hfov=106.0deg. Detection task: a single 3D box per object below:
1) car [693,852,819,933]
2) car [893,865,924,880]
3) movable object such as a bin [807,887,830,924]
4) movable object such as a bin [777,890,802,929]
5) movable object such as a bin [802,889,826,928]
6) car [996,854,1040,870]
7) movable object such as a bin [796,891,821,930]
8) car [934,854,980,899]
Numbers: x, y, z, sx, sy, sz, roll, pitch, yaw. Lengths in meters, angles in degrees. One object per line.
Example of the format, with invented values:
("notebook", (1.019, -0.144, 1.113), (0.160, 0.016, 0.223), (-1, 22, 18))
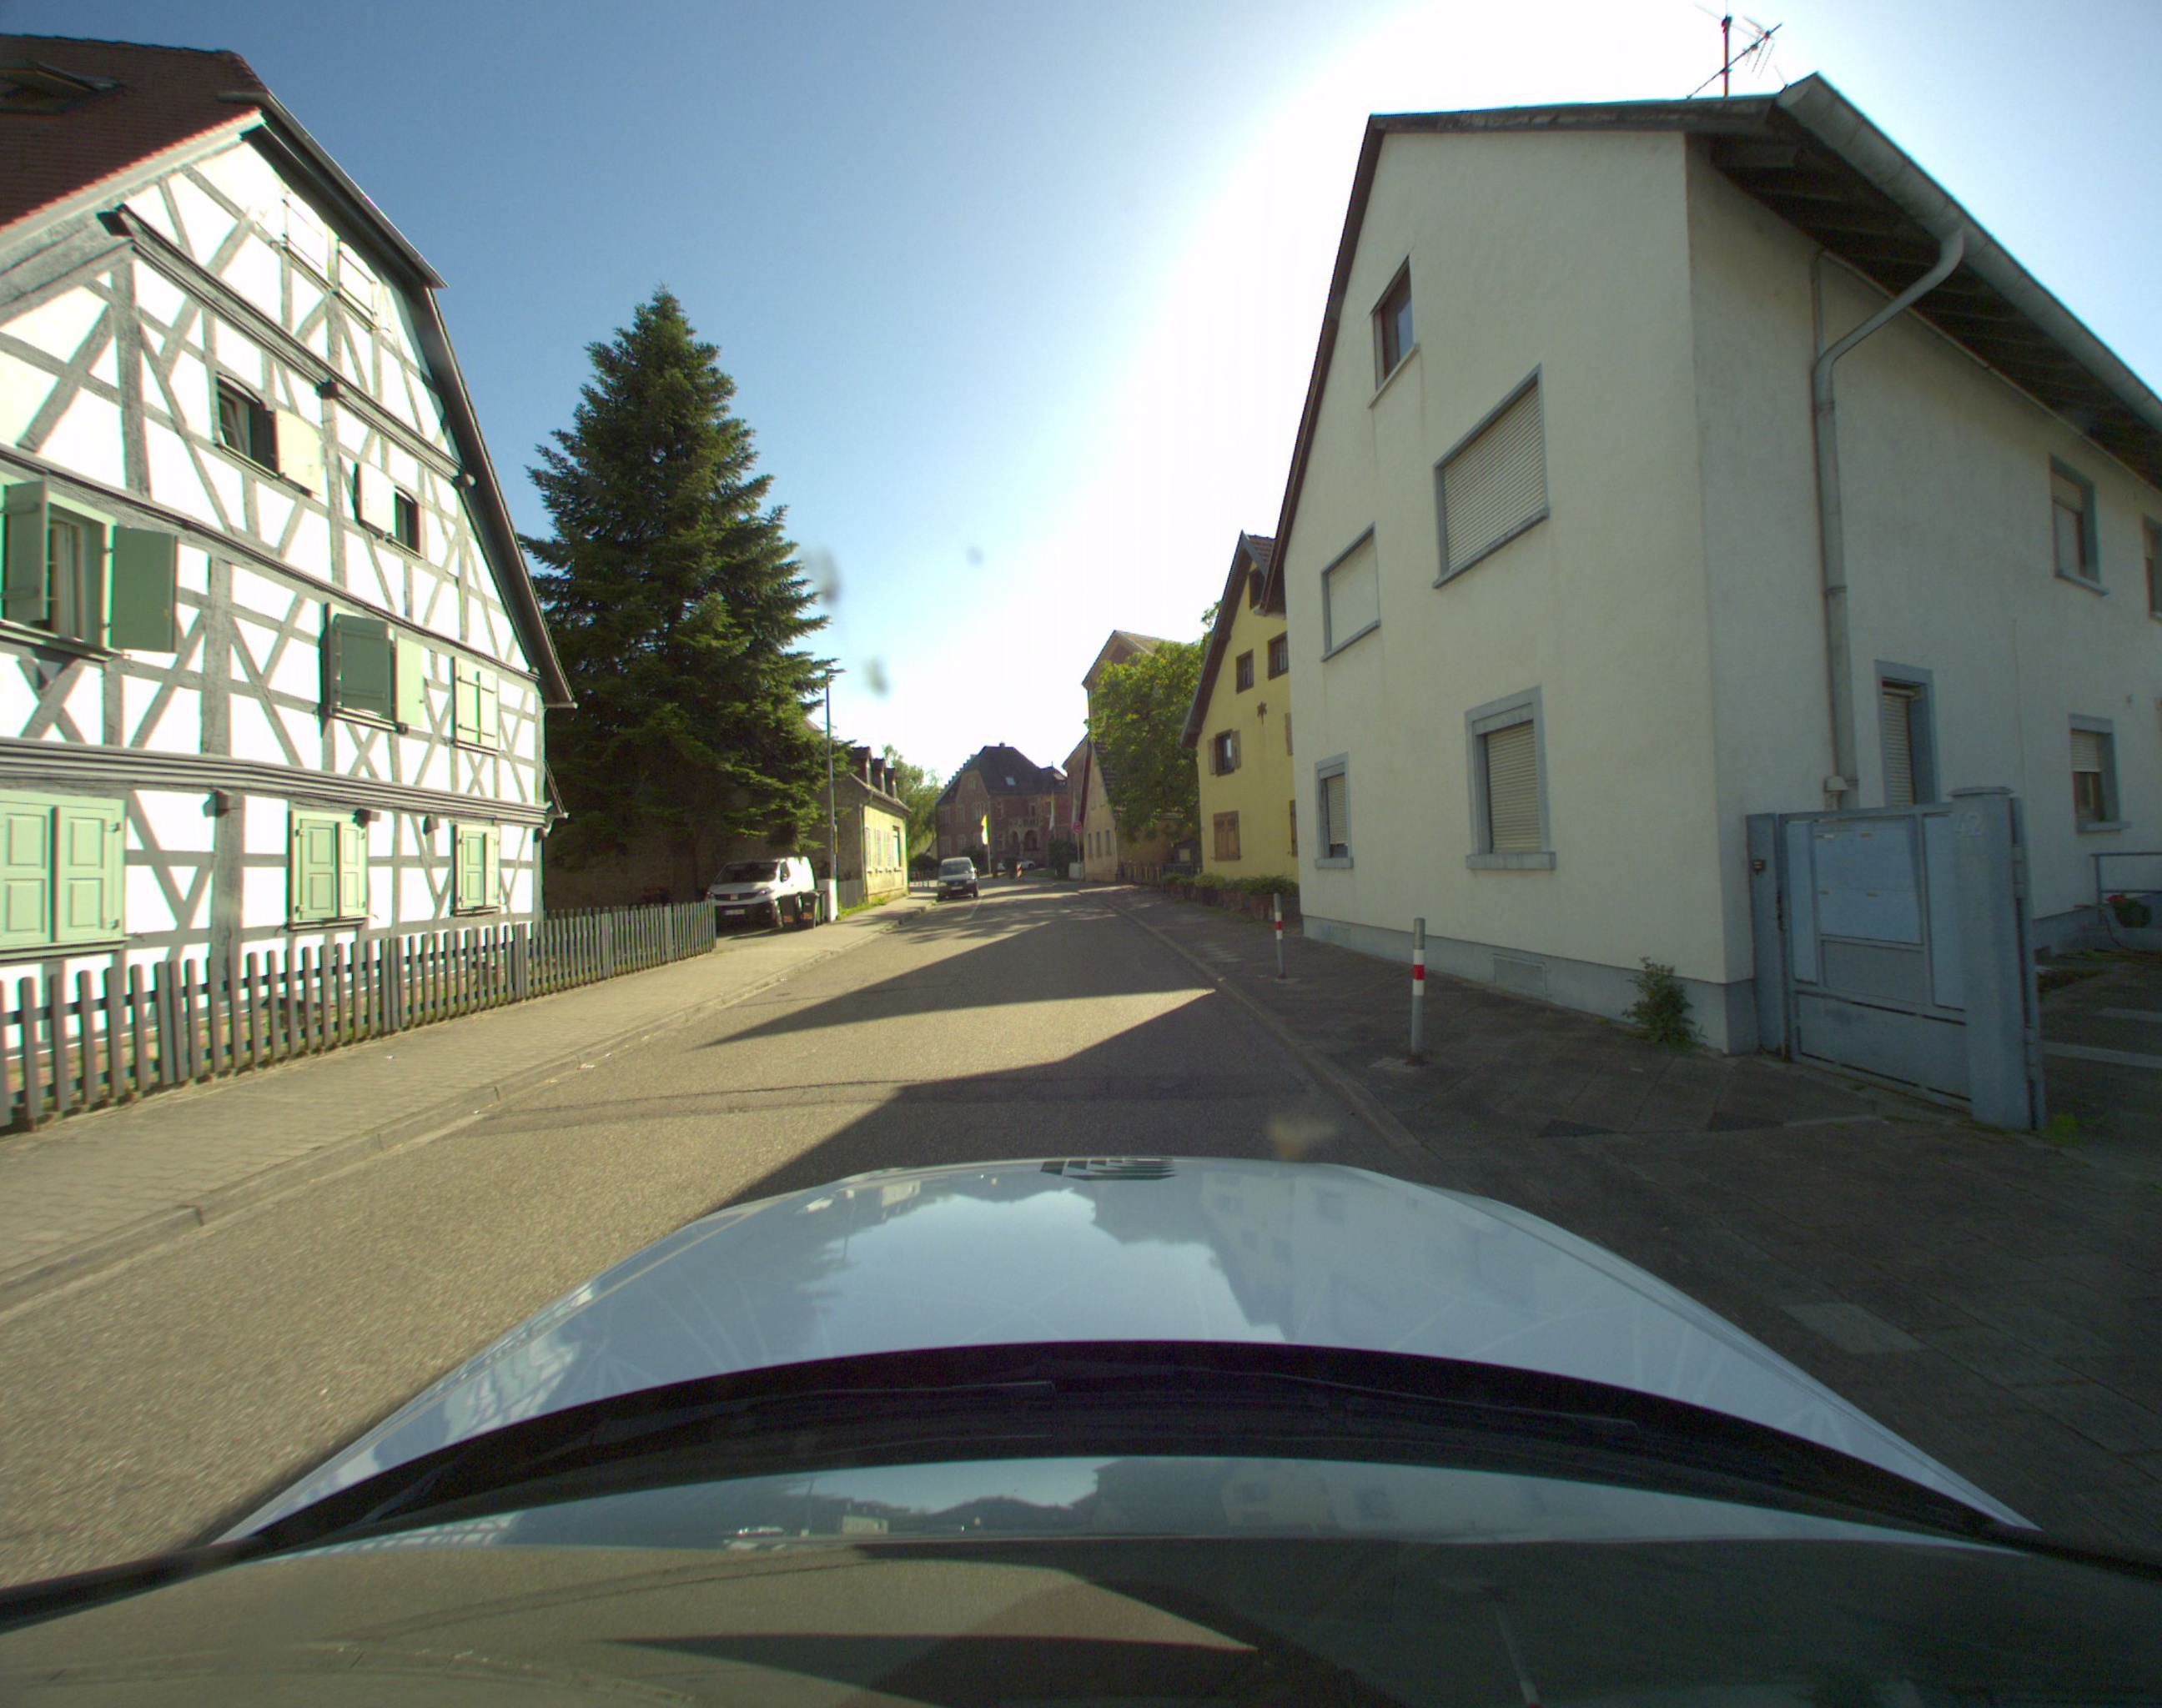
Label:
("car", (-9.275, 0.992, 23.774), (1.937, 1.955, 5.132), (-3, 1, -5))
("car", (-18.474, 2.000, 87.052), (1.725, 1.400, 4.201), (-3, 0, -35))
("movable object such as a bin", (-7.006, 1.365, 21.740), (0.419, 0.924, 0.490), (-4, 2, -4))
("movable object such as a bin", (-7.377, 1.398, 20.596), (0.419, 0.924, 0.490), (-4, 2, -4))
("movable object such as a bin", (-6.968, 1.413, 21.236), (0.427, 0.924, 0.490), (-4, 2, -4))
("car", (-6.539, 0.857, 84.682), (4.267, 1.400, 1.699), (-3, 0, -37))
("movable object such as a bin", (-6.931, 1.429, 20.740), (0.439, 0.924, 0.490), (-4, 2, -4))
("car", (-5.614, 0.969, 37.272), (1.824, 1.814, 4.191), (-5, 0, -7))
